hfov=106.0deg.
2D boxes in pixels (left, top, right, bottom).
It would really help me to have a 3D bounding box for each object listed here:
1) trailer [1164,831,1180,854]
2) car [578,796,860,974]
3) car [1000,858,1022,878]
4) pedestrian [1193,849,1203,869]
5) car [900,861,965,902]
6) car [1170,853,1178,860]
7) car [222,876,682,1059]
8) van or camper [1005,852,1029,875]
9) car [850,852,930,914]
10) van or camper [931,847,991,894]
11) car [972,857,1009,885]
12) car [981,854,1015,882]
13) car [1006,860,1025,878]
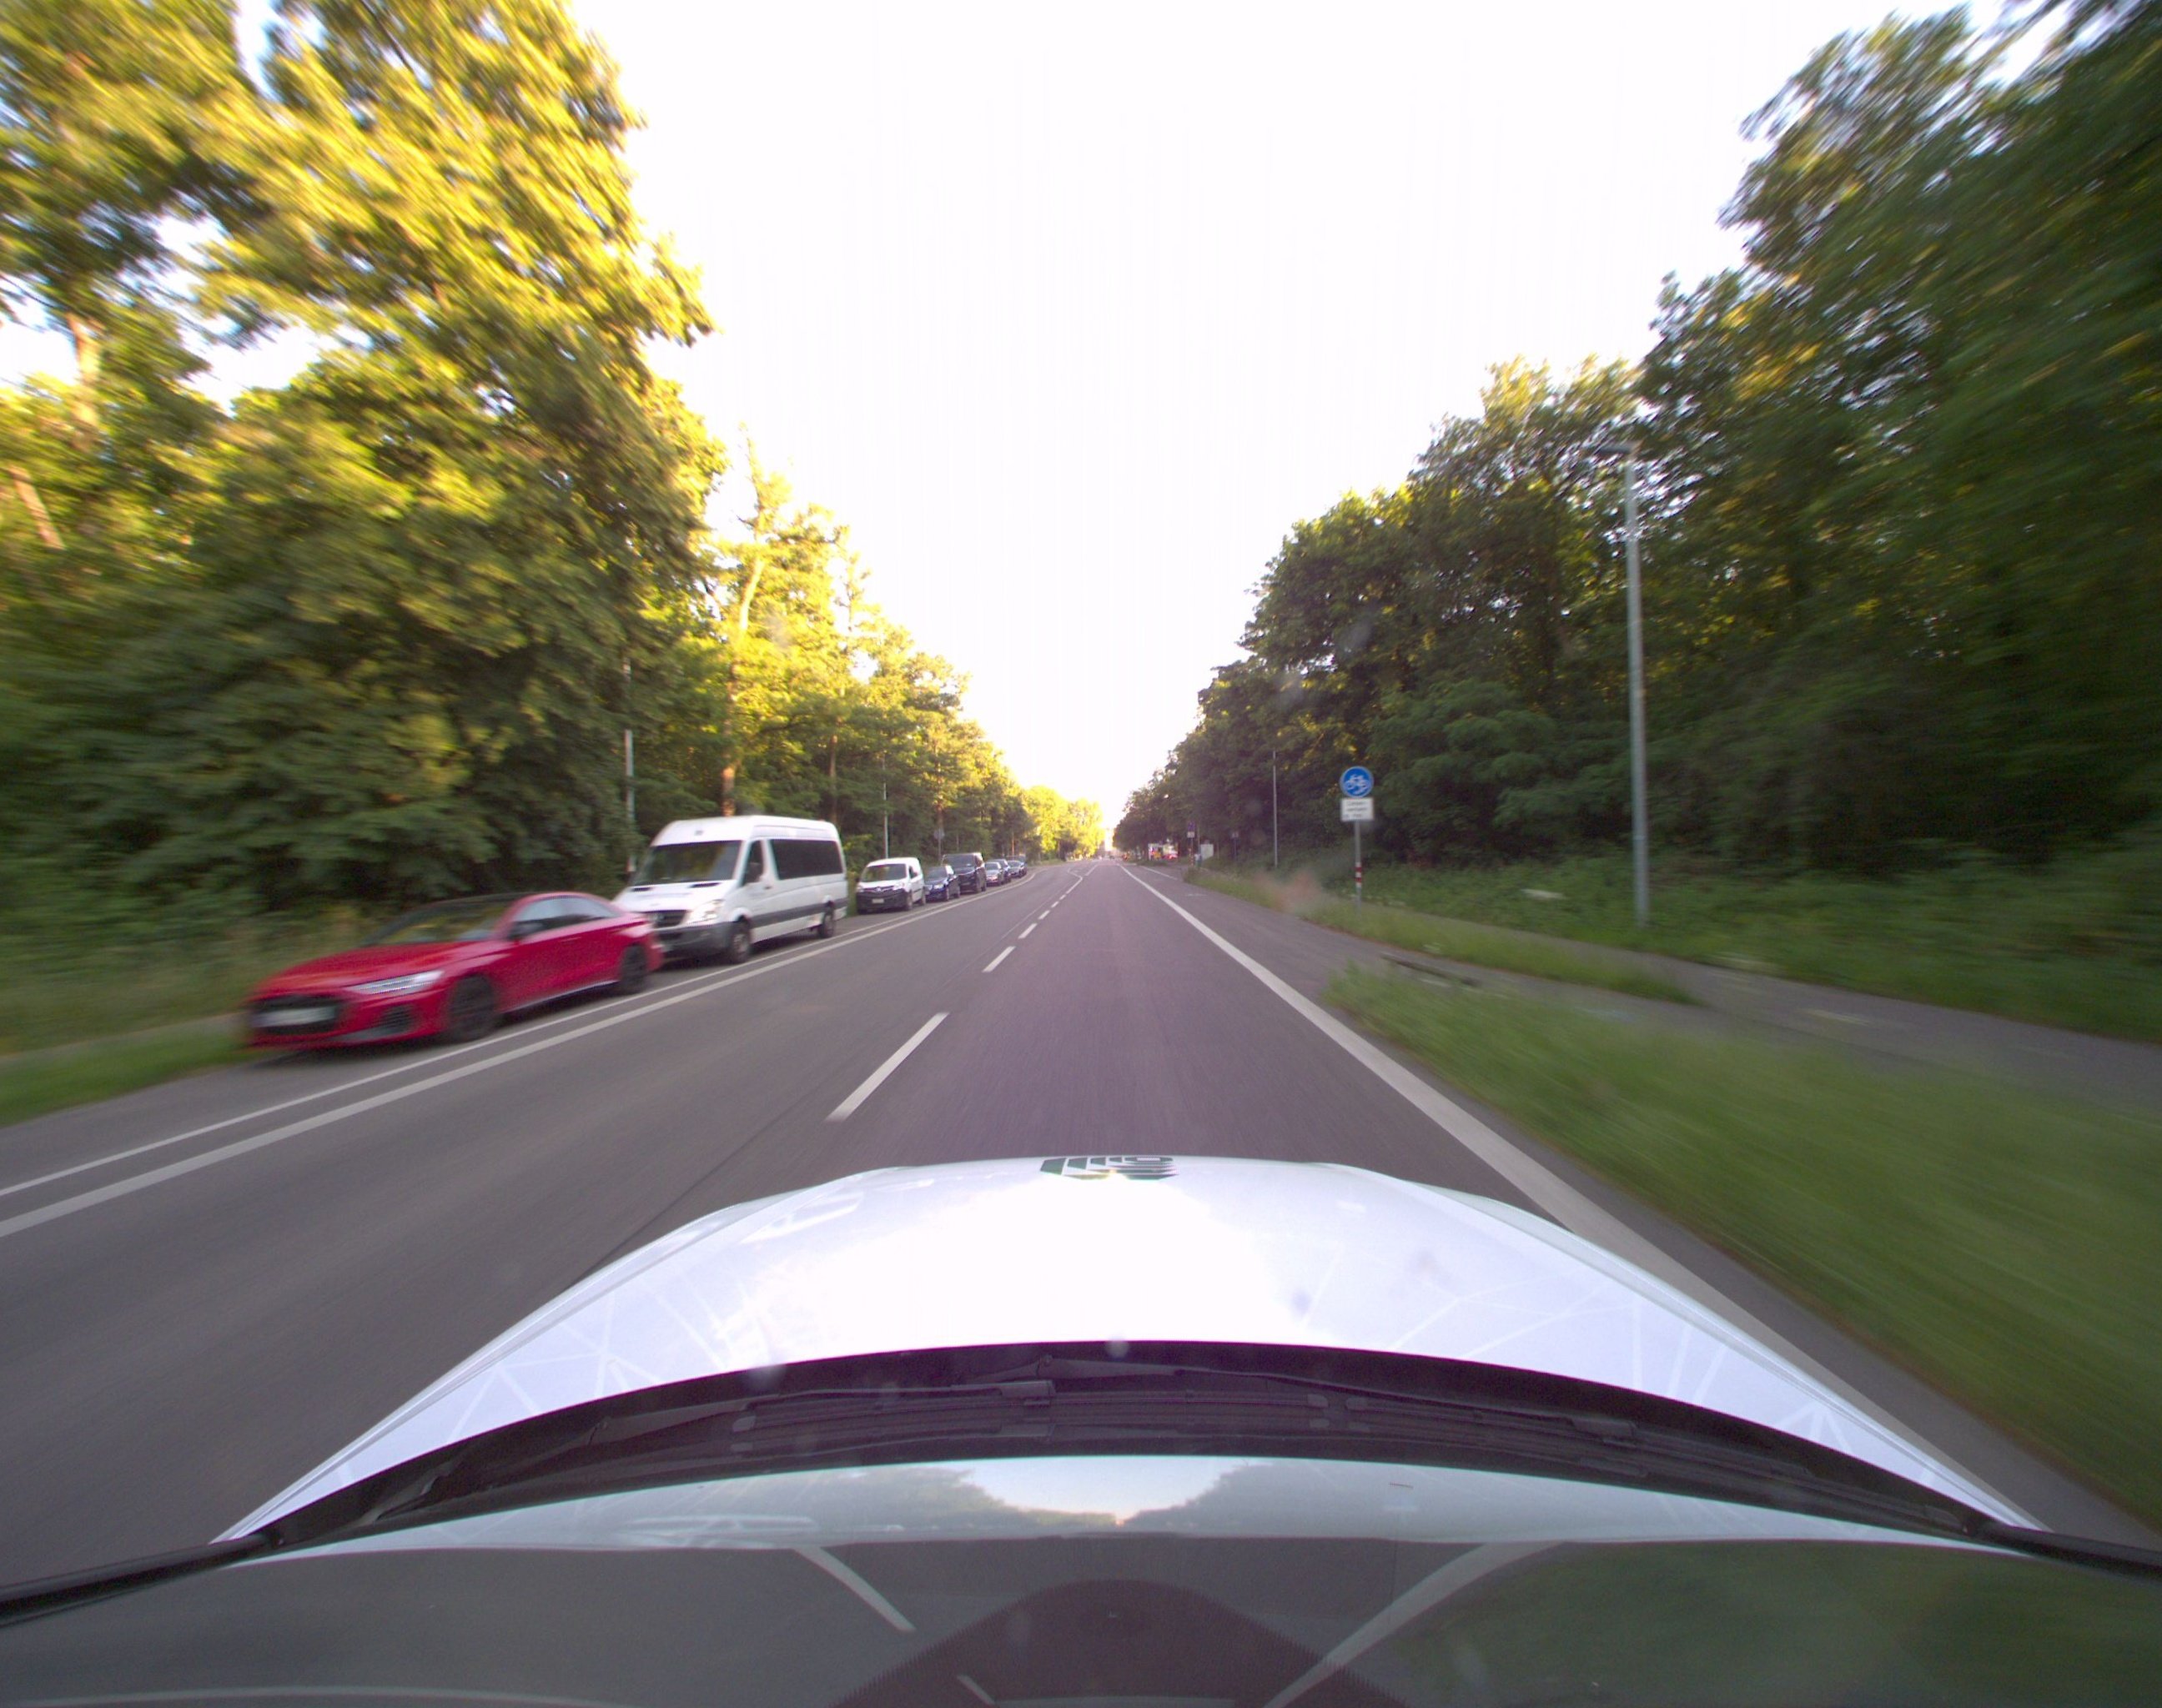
[{"bbox_3d":[21.596,-2.672,193.232,3.008,5.462,7.940,-2,0,3],"label":"trailer"},{"bbox_3d":[-6.577,0.480,16.167,2.071,2.606,7.091,-4,0,2],"label":"car"},{"bbox_3d":[-5.835,1.126,68.484,1.613,1.534,4.035,-3,0,-3],"label":"car"},{"bbox_3d":[10.500,0.452,73.148,0.835,1.751,0.726,-1,-1,2],"label":"pedestrian"},{"bbox_3d":[-6.028,1.077,33.518,1.663,1.433,4.448,-3,0,2],"label":"car"},{"bbox_3d":[20.624,0.622,180.661,1.761,1.583,4.826,0,0,6],"label":"car"},{"bbox_3d":[-6.698,1.077,9.461,1.709,1.430,4.391,-3,0,3],"label":"car"},{"bbox_3d":[-6.262,0.929,80.326,2.026,2.094,5.010,-3,0,-2],"label":"van or camper"},{"bbox_3d":[-6.533,0.927,28.258,1.683,1.858,4.385,-4,0,-1],"label":"car"},{"bbox_3d":[-5.807,0.742,40.039,1.996,2.018,5.460,-4,0,0],"label":"van or camper"},{"bbox_3d":[-5.488,1.011,49.880,1.663,1.501,4.245,-3,0,0],"label":"car"},{"bbox_3d":[-5.605,0.923,55.301,1.739,1.712,4.522,-3,0,0],"label":"car"},{"bbox_3d":[-5.868,1.299,73.301,1.540,1.493,3.966,-3,0,-4],"label":"car"}]
